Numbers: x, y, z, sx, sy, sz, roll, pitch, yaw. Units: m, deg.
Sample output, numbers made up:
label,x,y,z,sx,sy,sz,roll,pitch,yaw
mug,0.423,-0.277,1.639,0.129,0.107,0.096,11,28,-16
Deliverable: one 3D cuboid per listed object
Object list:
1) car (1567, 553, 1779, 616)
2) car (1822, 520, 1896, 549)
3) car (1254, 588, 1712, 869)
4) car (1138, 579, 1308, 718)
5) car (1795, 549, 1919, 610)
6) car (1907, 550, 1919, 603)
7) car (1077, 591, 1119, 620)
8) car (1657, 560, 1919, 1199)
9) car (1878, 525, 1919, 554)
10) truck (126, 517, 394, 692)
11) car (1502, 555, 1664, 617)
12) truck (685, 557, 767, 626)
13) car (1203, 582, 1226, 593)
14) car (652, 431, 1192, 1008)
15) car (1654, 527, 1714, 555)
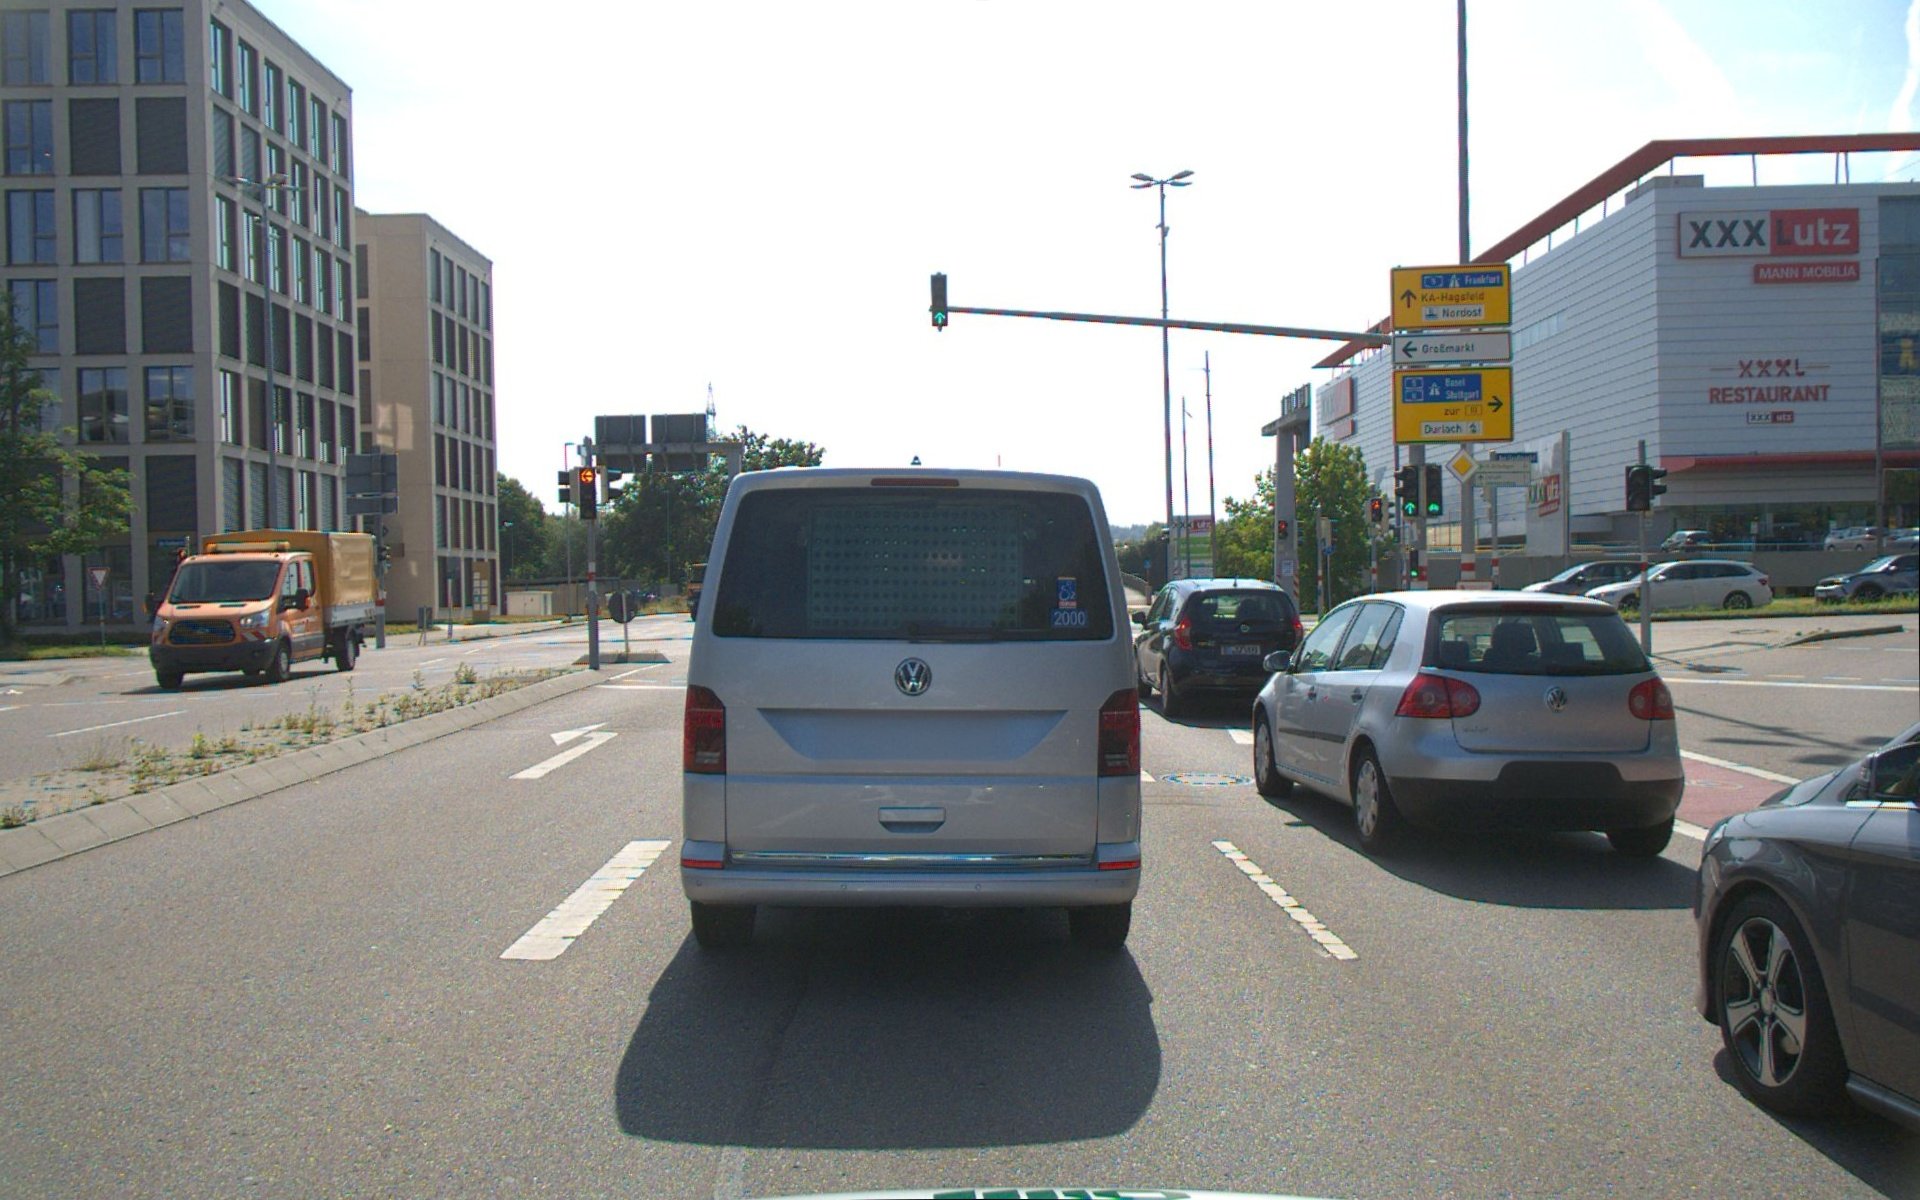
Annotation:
label,x,y,z,sx,sy,sz,roll,pitch,yaw
car,18.436,-0.376,42.911,4.618,1.450,1.959,-2,-1,2
car,48.824,-3.537,89.900,1.762,1.444,4.007,-1,1,-1
car,3.049,0.652,10.430,1.633,1.439,3.681,0,1,-2
car,3.044,0.503,19.734,1.499,1.505,3.596,0,1,0
car,25.387,-0.571,45.361,3.945,1.535,1.909,-2,-1,2
car,26.687,-0.664,42.238,3.960,1.365,1.724,-1,0,1
car,7.426,0.296,89.184,1.502,1.463,3.241,-1,1,-8
car,3.218,0.691,3.395,1.738,1.566,4.136,0,1,-2
car,51.517,-3.250,89.186,1.794,1.444,4.201,-1,1,2
truck,-12.389,0.038,29.920,2.329,2.670,6.666,-4,1,-5
car,17.256,-0.381,45.948,3.803,1.585,1.809,-1,0,3
truck,-13.496,-0.532,96.015,2.688,3.744,7.585,-2,1,7
car,33.591,-1.663,218.274,1.957,1.445,3.991,1,0,-9
car,-0.168,0.396,7.929,1.878,2.010,4.296,0,1,-1
car,41.601,-3.364,95.113,1.734,1.444,4.201,-1,1,2
